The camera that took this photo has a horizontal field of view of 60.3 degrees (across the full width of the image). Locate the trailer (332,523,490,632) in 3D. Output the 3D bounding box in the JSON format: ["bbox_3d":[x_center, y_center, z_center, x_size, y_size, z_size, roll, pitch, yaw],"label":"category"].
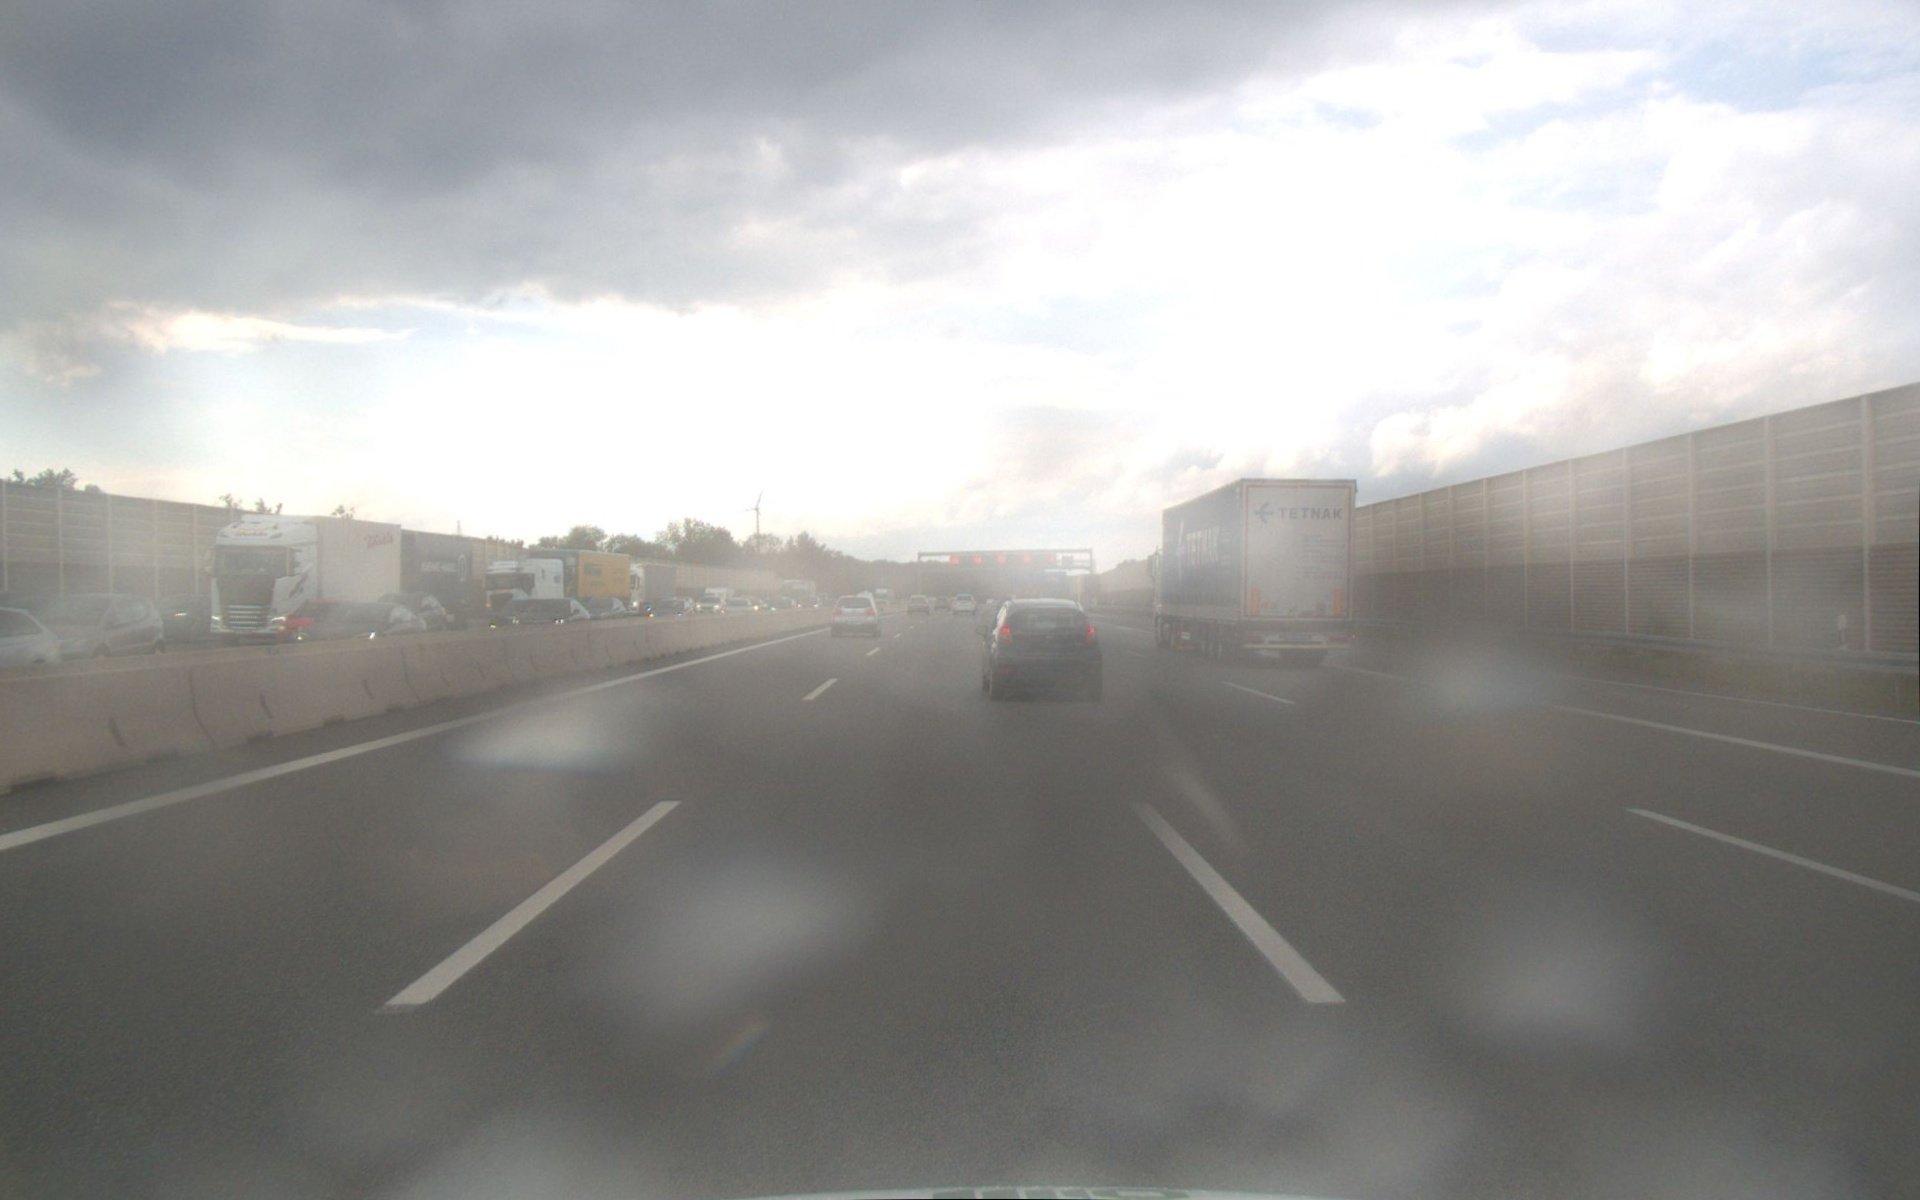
[{"bbox_3d":[-21.816,-0.850,66.405,2.871,4.008,10.119,0,0,0],"label":"trailer"}]

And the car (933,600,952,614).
[{"bbox_3d":[-2.122,0.862,201.892,1.927,1.588,4.434,-1,-1,3],"label":"car"}]

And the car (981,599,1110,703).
[{"bbox_3d":[1.231,0.720,25.421,1.682,1.442,4.277,0,0,-1],"label":"car"}]

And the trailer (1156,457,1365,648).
[{"bbox_3d":[7.319,-0.989,42.804,2.705,4.102,14.451,0,0,0],"label":"trailer"}]

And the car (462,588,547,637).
[{"bbox_3d":[-18.881,0.493,68.769,2.019,1.925,5.806,0,0,-1],"label":"car"}]

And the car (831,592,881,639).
[{"bbox_3d":[-3.811,0.543,61.210,1.682,1.652,4.277,0,0,-2],"label":"car"}]

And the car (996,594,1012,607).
[{"bbox_3d":[5.926,0.050,223.697,1.926,1.587,4.437,3,2,4],"label":"car"}]

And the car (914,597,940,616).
[{"bbox_3d":[-2.836,0.560,143.087,1.927,1.588,4.434,-1,-1,3],"label":"car"}]

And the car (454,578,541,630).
[{"bbox_3d":[-18.783,0.136,67.451,2.019,2.037,5.806,0,0,-1],"label":"car"}]

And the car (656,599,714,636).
[{"bbox_3d":[-13.771,0.859,83.053,2.019,1.786,5.806,0,0,-1],"label":"car"}]

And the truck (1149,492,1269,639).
[{"bbox_3d":[7.317,-0.961,49.343,2.689,4.105,5.725,0,0,0],"label":"truck"}]

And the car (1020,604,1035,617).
[{"bbox_3d":[8.333,1.280,204.534,1.843,1.588,4.434,-1,-1,3],"label":"car"}]

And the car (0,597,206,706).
[{"bbox_3d":[-17.758,0.955,33.816,2.019,2.037,5.807,0,0,0],"label":"car"}]

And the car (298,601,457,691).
[{"bbox_3d":[-14.168,1.044,40.630,2.019,2.037,5.805,0,0,-2],"label":"car"}]

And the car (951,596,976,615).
[{"bbox_3d":[0.346,0.509,143.699,1.927,1.588,4.434,-1,-1,3],"label":"car"}]

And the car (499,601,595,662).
[{"bbox_3d":[-14.491,1.063,58.348,2.019,2.037,5.806,0,0,-1],"label":"car"}]

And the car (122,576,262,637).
[{"bbox_3d":[-25.357,0.193,54.898,2.019,1.925,5.806,0,0,-1],"label":"car"}]

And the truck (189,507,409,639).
[{"bbox_3d":[-21.947,-0.844,55.825,2.877,4.014,11.067,0,0,0],"label":"truck"}]

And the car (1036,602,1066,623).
[{"bbox_3d":[6.496,0.886,118.682,1.910,1.443,4.231,0,-1,0],"label":"car"}]

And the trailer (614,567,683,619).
[{"bbox_3d":[-25.636,-0.527,137.000,2.704,4.102,14.454,0,0,1],"label":"trailer"}]

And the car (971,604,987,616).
[{"bbox_3d":[2.482,1.300,213.307,1.927,1.588,4.433,-1,-1,2],"label":"car"}]

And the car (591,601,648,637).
[{"bbox_3d":[-17.226,0.945,83.812,2.019,1.729,4.409,0,0,-1],"label":"car"}]

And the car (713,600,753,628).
[{"bbox_3d":[-14.299,0.862,104.367,2.019,1.729,4.409,0,0,-1],"label":"car"}]

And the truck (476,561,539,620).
[{"bbox_3d":[-32.598,-0.672,119.381,2.857,4.105,5.726,0,0,1],"label":"truck"}]

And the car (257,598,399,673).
[{"bbox_3d":[-18.424,0.972,48.508,2.019,2.037,5.806,0,0,-1],"label":"car"}]

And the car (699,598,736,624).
[{"bbox_3d":[-17.532,0.750,119.879,2.019,1.848,4.777,0,0,-1],"label":"car"}]

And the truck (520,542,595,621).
[{"bbox_3d":[-21.713,-0.955,89.515,2.689,4.105,5.725,0,0,0],"label":"truck"}]

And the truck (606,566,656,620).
[{"bbox_3d":[-25.739,-0.530,129.513,2.688,4.105,5.726,0,0,1],"label":"truck"}]

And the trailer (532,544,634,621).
[{"bbox_3d":[-21.790,-0.923,96.532,2.705,4.102,14.451,0,0,0],"label":"trailer"}]

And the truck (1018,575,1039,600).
[{"bbox_3d":[10.621,-1.858,256.133,3.087,3.665,12.703,1,0,3],"label":"truck"}]

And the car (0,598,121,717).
[{"bbox_3d":[-13.961,0.781,22.629,2.019,1.591,5.807,0,0,0],"label":"car"}]
